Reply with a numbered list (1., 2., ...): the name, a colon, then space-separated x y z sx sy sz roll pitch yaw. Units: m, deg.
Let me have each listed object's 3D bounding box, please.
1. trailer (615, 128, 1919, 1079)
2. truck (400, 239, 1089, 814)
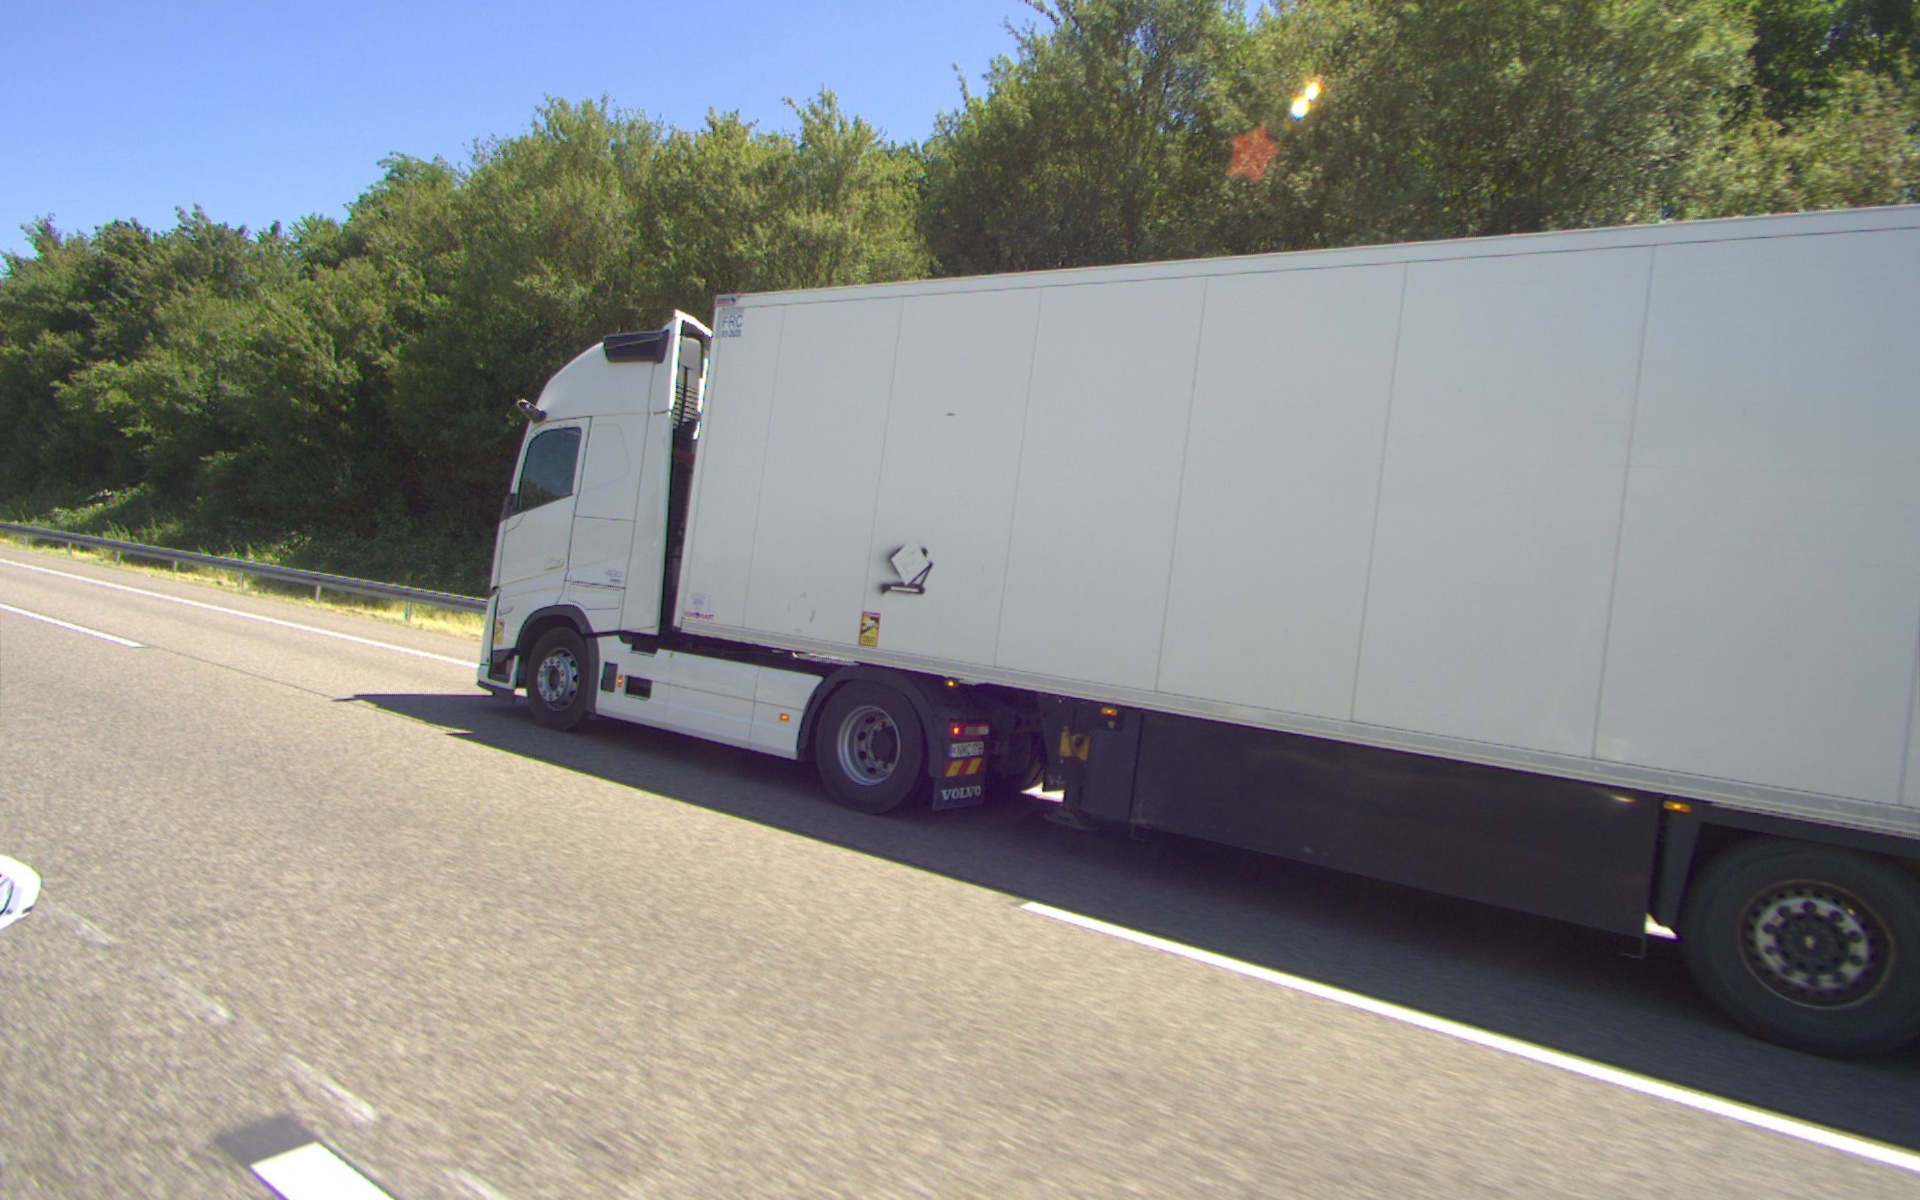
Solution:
1. trailer: 3.808 -0.040 6.609 13.603 4.274 3.045 7 -1 31
2. truck: -2.258 -0.693 10.248 5.947 4.265 3.053 7 -1 31
